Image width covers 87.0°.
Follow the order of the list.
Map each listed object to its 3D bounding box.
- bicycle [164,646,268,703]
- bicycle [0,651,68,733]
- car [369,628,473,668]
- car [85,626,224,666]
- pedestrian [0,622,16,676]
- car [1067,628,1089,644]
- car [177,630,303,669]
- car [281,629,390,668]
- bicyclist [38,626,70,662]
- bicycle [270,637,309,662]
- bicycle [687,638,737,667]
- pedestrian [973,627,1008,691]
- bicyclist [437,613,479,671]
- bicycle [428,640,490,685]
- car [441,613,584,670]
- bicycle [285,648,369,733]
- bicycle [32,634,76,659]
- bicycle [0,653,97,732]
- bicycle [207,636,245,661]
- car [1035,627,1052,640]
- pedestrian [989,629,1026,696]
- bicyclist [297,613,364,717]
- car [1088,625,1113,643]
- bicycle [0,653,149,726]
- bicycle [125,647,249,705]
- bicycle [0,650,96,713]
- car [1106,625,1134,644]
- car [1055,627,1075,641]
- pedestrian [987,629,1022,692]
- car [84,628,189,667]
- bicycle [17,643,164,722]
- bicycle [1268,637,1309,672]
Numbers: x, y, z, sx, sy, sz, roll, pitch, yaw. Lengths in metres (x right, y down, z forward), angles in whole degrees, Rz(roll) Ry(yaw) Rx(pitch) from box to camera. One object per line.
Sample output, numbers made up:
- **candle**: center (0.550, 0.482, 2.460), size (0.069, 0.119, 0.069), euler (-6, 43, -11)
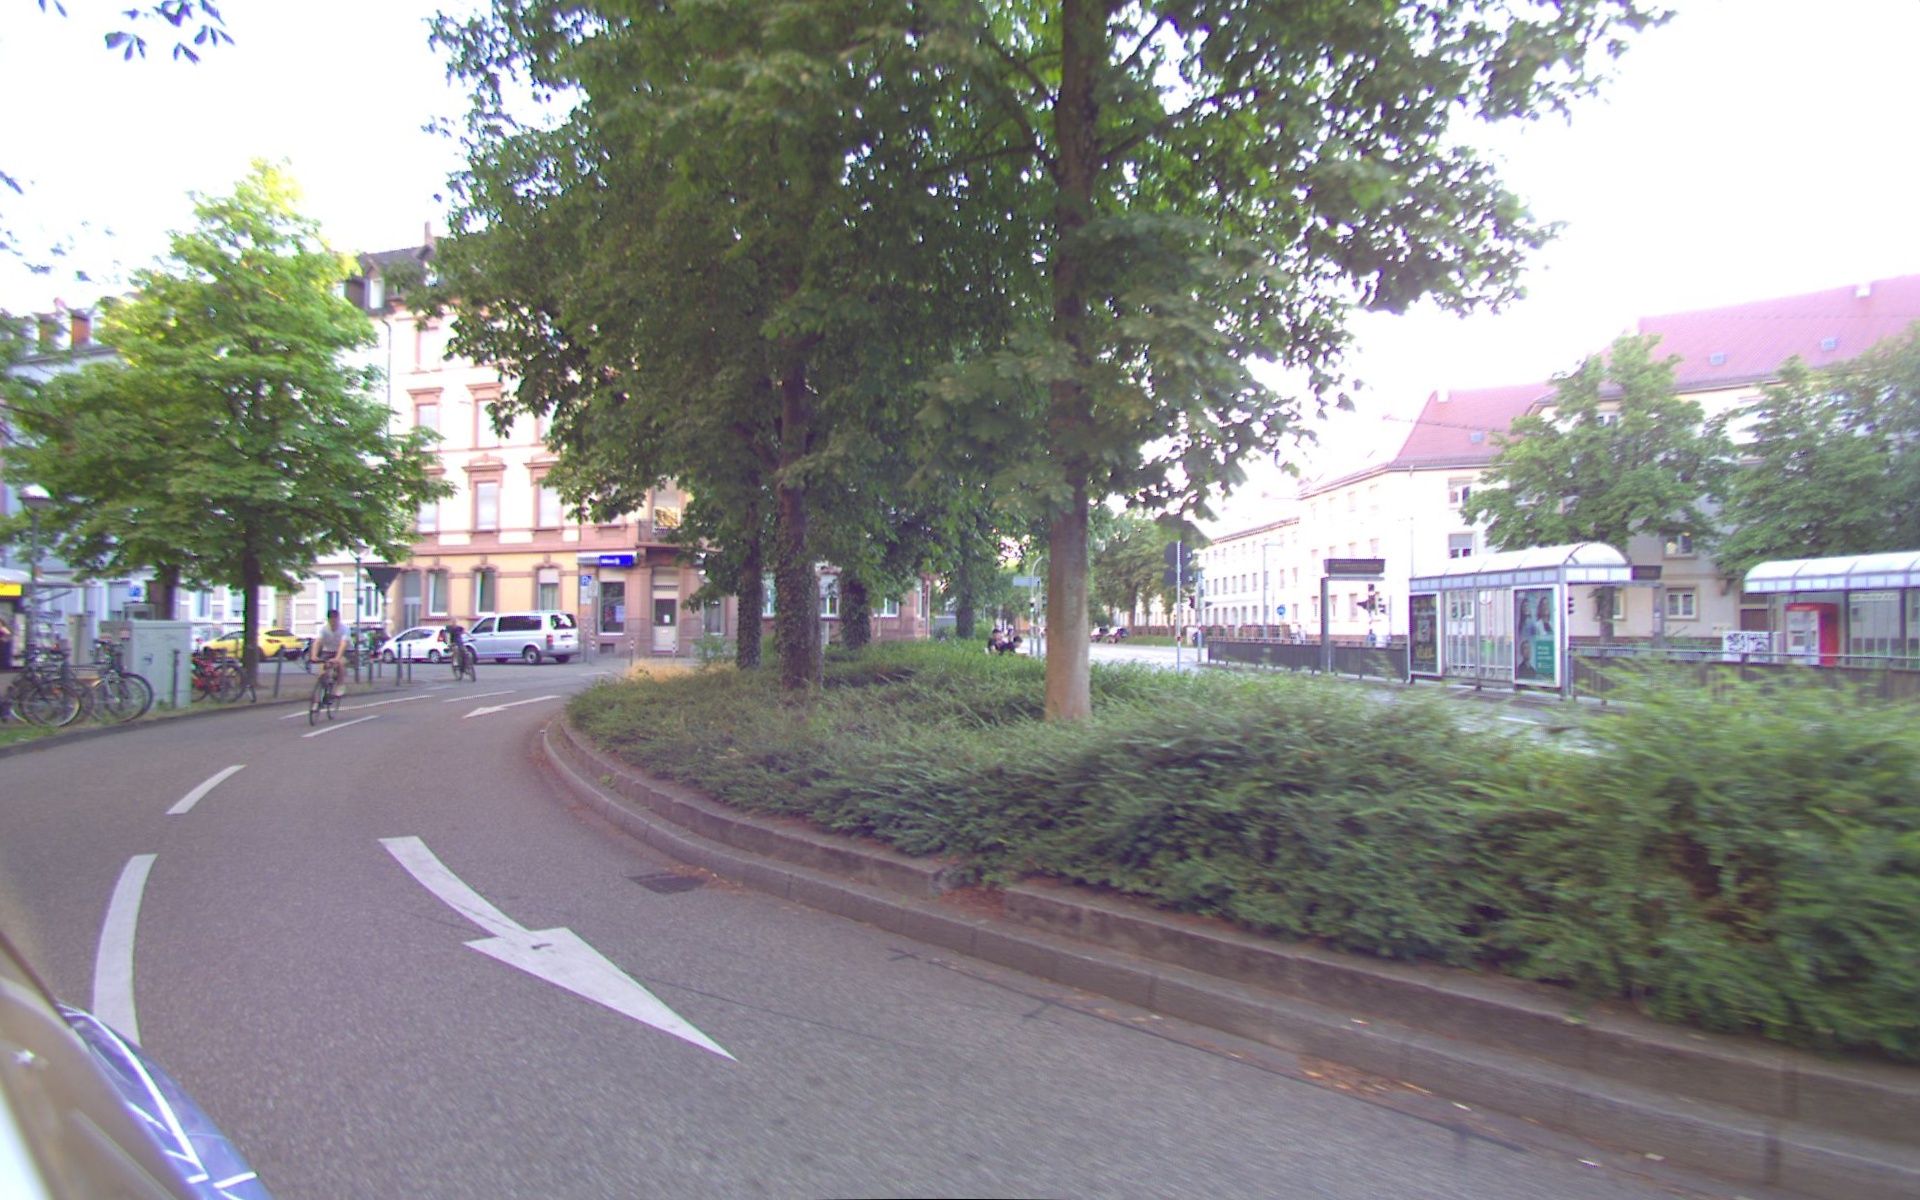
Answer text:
- **bicycle**: center (-13.941, 1.391, 18.981), size (1.584, 1.047, 0.432), euler (0, -2, -3)
- **bicycle**: center (-13.108, 1.238, 13.618), size (1.580, 1.084, 0.420), euler (1, -2, -20)
- **car**: center (-21.611, 1.911, 40.596), size (3.582, 1.502, 1.680), euler (-1, 0, 17)
- **car**: center (-32.150, 1.821, 40.410), size (4.800, 1.528, 1.989), euler (-1, -2, 17)
- **pedestrian**: center (-27.664, 1.397, 29.013), size (0.581, 1.551, 0.680), euler (0, -2, -13)
- **car**: center (14.275, 4.324, 122.664), size (1.881, 1.864, 4.004), euler (0, -2, -4)
- **car**: center (-30.737, 2.112, 43.227), size (4.758, 1.537, 1.835), euler (-1, 0, 16)
- **car**: center (-25.623, 1.976, 41.565), size (3.706, 1.502, 1.727), euler (-1, 0, 14)
- **bicyclist**: center (-39.742, 1.916, 44.379), size (0.868, 1.557, 0.674), euler (-1, -2, 19)
- **bicycle**: center (-31.033, 2.296, 46.862), size (1.849, 1.149, 0.478), euler (-1, -2, 19)
- **bicycle**: center (-9.523, 2.005, 38.836), size (1.775, 1.091, 0.560), euler (0, -1, 5)
- **pedestrian**: center (0.706, 1.341, 23.203), size (0.650, 1.442, 0.614), euler (-1, -2, 19)
- **bicyclist**: center (-13.433, 1.123, 27.069), size (0.972, 1.524, 0.677), euler (-2, -3, 40)
- **bicycle**: center (-13.381, 1.651, 27.007), size (2.113, 1.160, 0.677), euler (-2, -3, 40)
- **car**: center (-17.141, 1.576, 38.825), size (4.964, 2.072, 2.035), euler (-1, 0, 19)
- **bicycle**: center (-9.500, 1.318, 15.260), size (0.674, 1.160, 2.122), euler (0, -2, -21)
- **bicycle**: center (-39.729, 2.024, 44.370), size (1.795, 1.103, 0.681), euler (-1, -2, 20)
- **bicycle**: center (-13.060, 1.276, 14.036), size (1.580, 1.071, 0.420), euler (1, -2, -20)
- **bicycle**: center (-34.929, 2.306, 48.165), size (1.849, 1.149, 0.478), euler (-1, -2, 19)
- **car**: center (12.252, 5.003, 149.508), size (1.881, 1.864, 4.004), euler (0, -2, -4)
- **pedestrian**: center (1.059, 1.379, 22.485), size (0.650, 1.442, 0.614), euler (-1, -2, 19)
- **bicyclist**: center (-9.547, 0.967, 15.373), size (0.674, 1.524, 0.976), euler (0, -2, -21)
- **car**: center (15.412, 3.700, 110.856), size (1.881, 1.864, 4.004), euler (0, -2, -4)
- **bicycle**: center (-13.074, 1.302, 14.971), size (1.580, 1.028, 0.556), euler (1, -2, -15)
- **bicycle**: center (-14.184, 1.388, 18.596), size (1.871, 1.047, 0.432), euler (0, -2, -3)
- **bicycle**: center (-15.315, 1.343, 16.966), size (0.425, 0.976, 1.730), euler (0, -2, -10)
- **car**: center (16.122, 3.463, 101.979), size (1.881, 1.864, 4.004), euler (0, -2, -4)
- **car**: center (13.638, 4.411, 131.950), size (1.881, 1.864, 4.004), euler (0, -2, -4)
- **pedestrian**: center (1.051, 1.408, 23.800), size (0.650, 1.442, 0.614), euler (-1, -2, 19)
- **car**: center (-36.810, 2.102, 45.244), size (4.113, 1.605, 1.794), euler (-1, 0, 19)
- **bicycle**: center (-13.196, 1.243, 15.400), size (1.580, 1.157, 0.556), euler (1, -2, -15)
- **bicycle**: center (10.272, 1.680, 31.672), size (0.538, 1.059, 1.857), euler (0, -2, -4)
